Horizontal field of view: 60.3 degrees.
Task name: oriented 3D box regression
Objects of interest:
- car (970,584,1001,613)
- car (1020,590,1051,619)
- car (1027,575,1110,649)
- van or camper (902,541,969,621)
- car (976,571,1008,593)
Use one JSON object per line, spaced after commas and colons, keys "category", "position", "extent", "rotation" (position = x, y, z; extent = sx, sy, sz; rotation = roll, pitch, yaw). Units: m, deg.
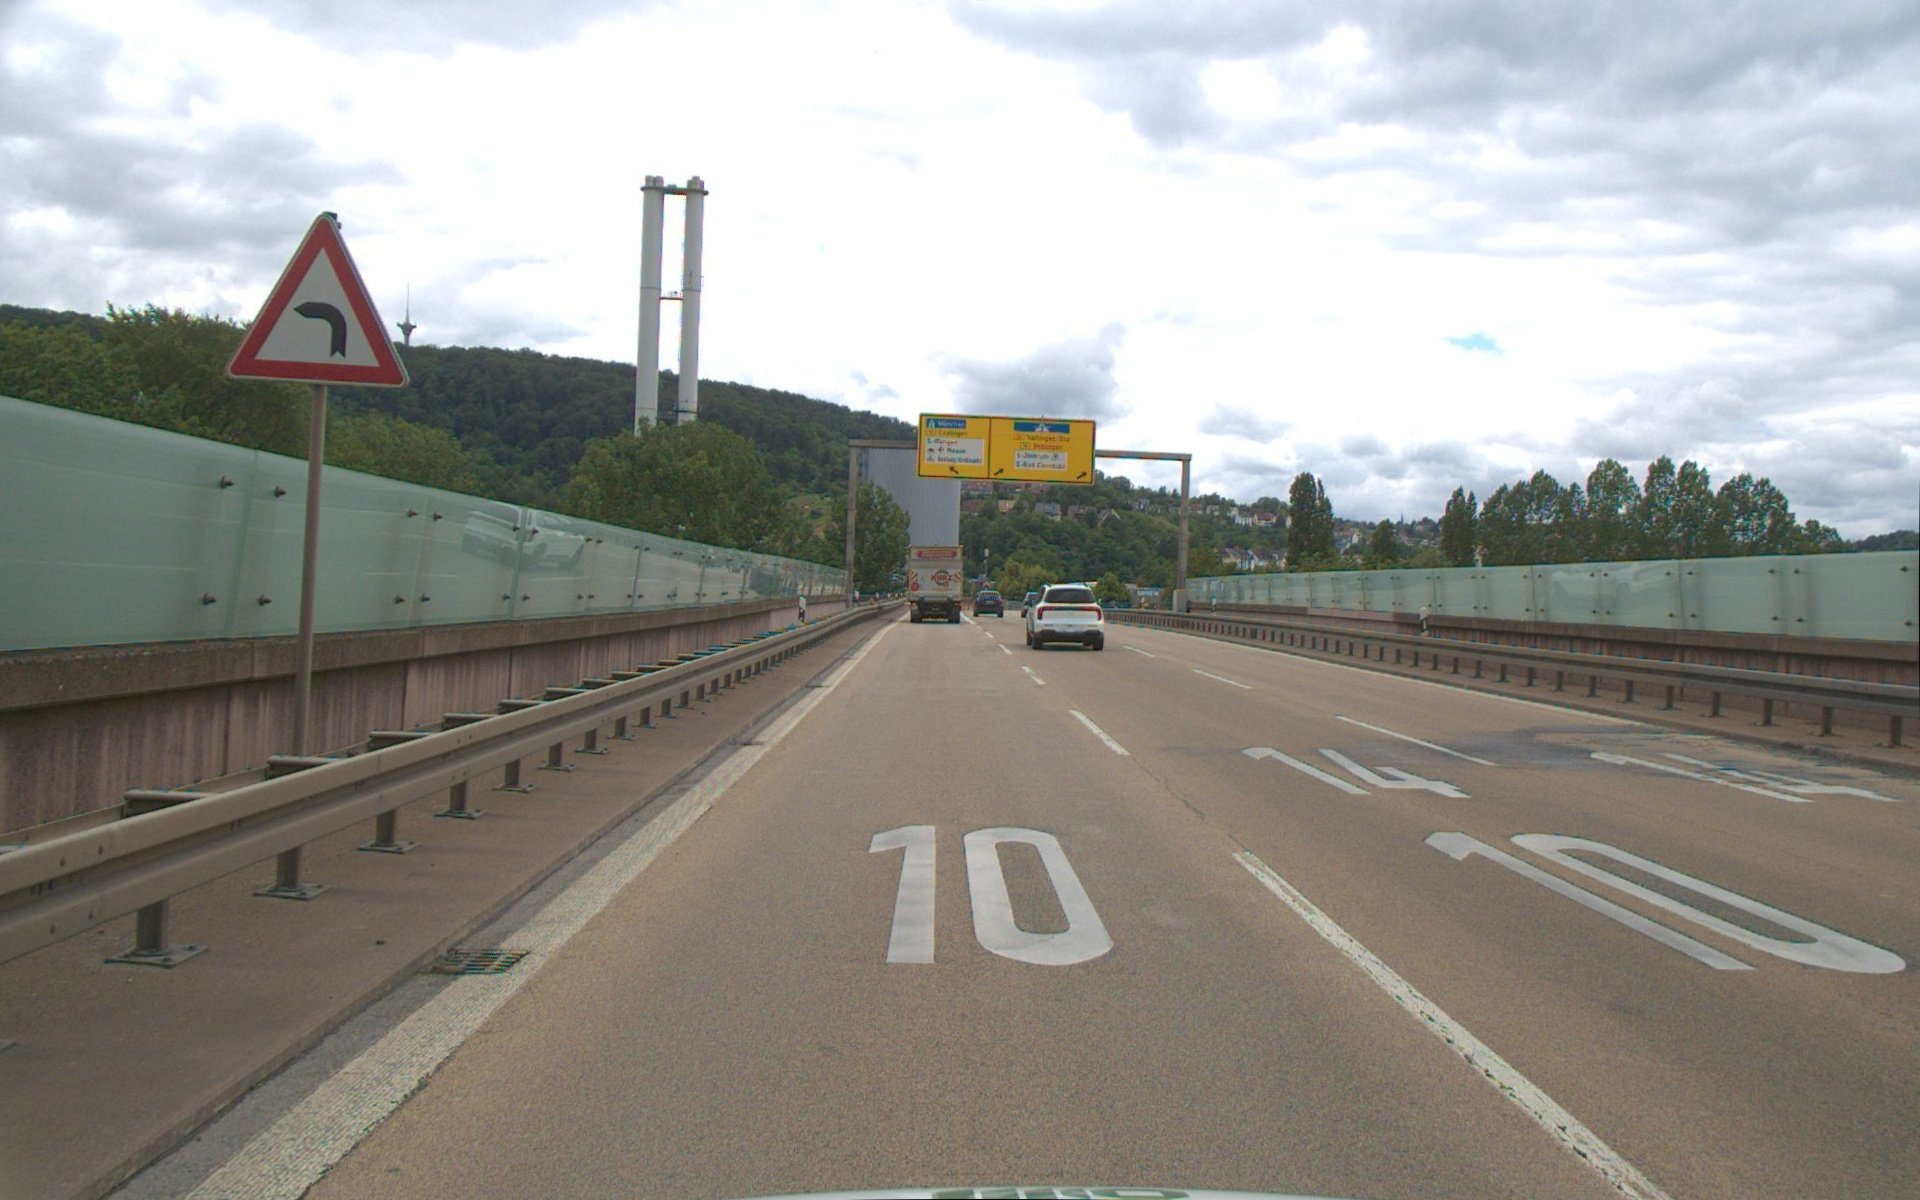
{"category": "car", "position": [1.646, -0.120, 106.295], "extent": [1.884, 1.816, 4.113], "rotation": [1, 0, 0]}
{"category": "car", "position": [5.044, 0.278, 110.877], "extent": [1.884, 1.816, 4.113], "rotation": [1, 0, -1]}
{"category": "car", "position": [2.825, 0.282, 43.781], "extent": [1.884, 1.816, 4.113], "rotation": [1, 0, 0]}
{"category": "van or camper", "position": [-1.116, -0.862, 80.110], "extent": [3.058, 3.642, 8.550], "rotation": [1, 0, 0]}
{"category": "car", "position": [3.015, -1.635, 155.685], "extent": [2.420, 2.014, 5.164], "rotation": [1, 0, 8]}
